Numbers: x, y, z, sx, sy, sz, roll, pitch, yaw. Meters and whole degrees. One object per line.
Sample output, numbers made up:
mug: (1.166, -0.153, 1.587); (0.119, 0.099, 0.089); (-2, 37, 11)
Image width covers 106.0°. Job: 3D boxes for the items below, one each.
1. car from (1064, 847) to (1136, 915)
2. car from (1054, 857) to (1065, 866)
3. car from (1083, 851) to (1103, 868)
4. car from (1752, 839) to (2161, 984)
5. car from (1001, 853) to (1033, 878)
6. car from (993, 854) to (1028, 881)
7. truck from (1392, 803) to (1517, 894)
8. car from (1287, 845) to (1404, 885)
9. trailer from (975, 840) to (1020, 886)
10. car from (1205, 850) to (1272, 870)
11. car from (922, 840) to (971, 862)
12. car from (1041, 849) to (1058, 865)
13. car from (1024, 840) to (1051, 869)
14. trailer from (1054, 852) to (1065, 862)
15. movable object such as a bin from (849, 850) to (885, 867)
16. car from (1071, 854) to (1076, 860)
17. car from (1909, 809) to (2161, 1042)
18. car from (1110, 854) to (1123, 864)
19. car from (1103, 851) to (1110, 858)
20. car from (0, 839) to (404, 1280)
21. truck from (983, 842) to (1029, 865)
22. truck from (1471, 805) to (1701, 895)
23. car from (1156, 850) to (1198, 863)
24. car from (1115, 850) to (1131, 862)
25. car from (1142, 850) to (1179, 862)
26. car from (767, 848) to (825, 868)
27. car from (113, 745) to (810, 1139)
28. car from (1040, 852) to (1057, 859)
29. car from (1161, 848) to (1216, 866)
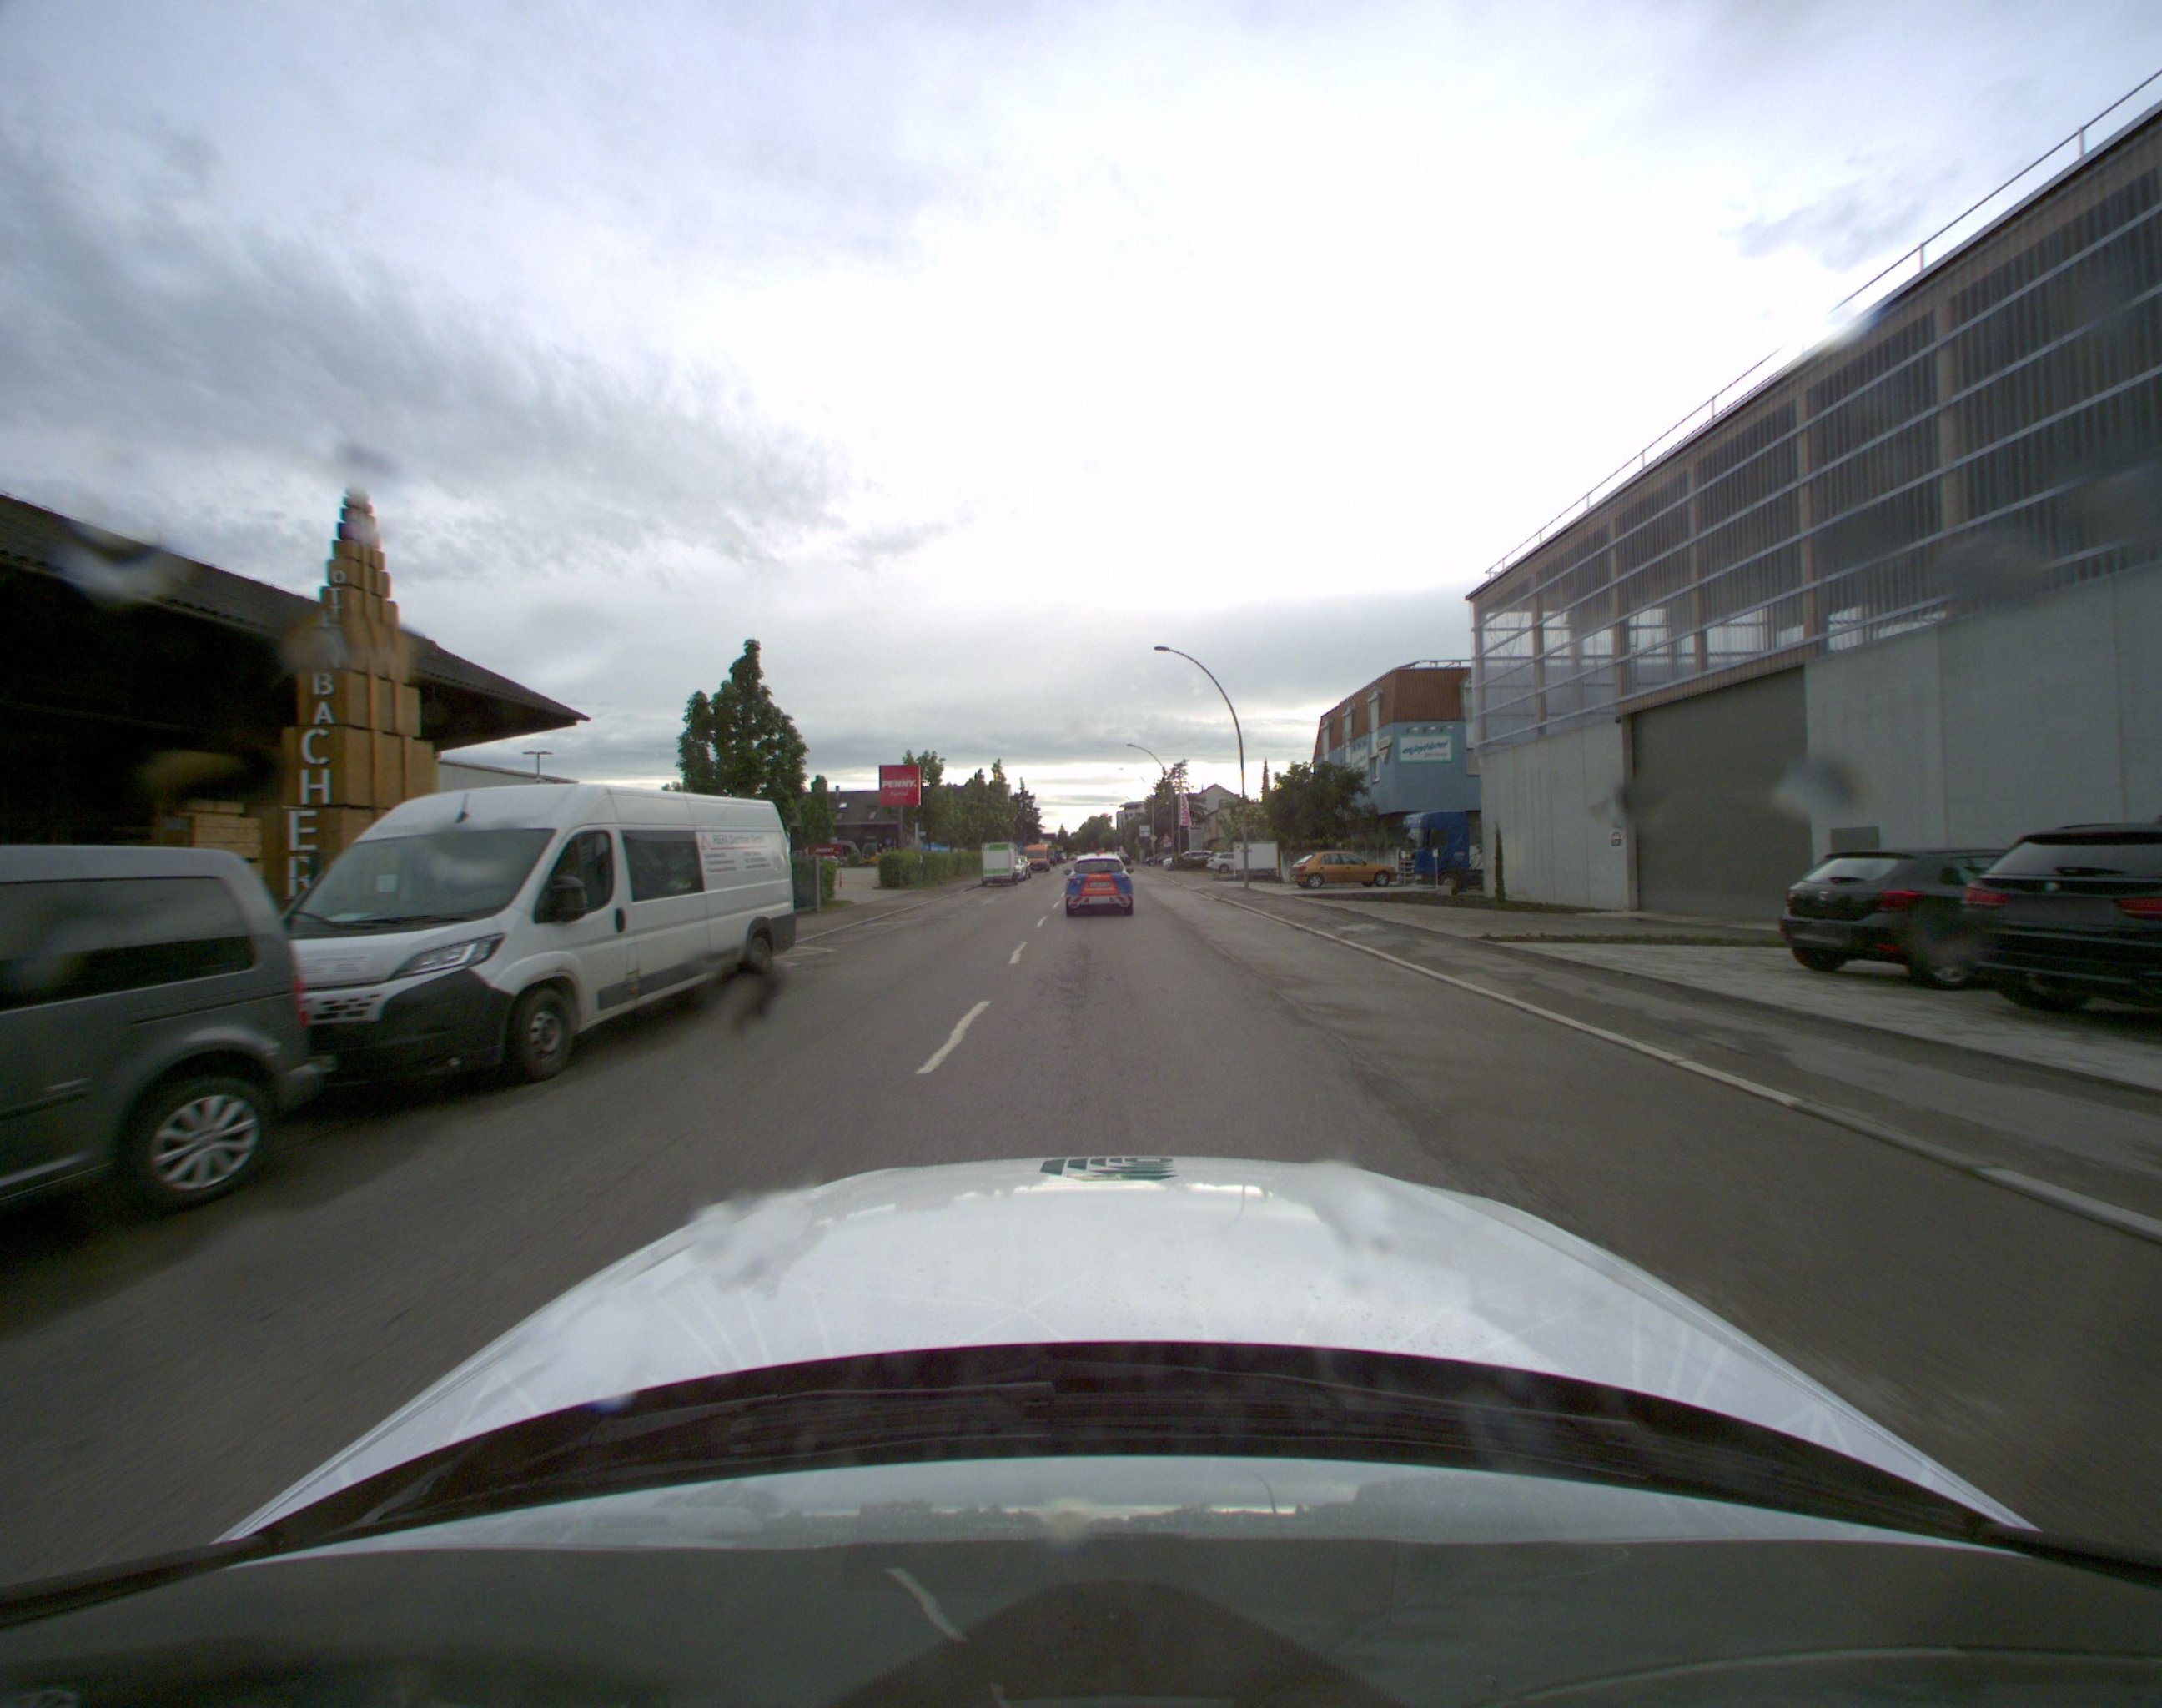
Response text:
car: (0.465, 0.672, 21.773); (1.726, 1.631, 3.494); (-1, 0, 0)
car: (-3.524, 1.258, 132.826); (1.552, 1.433, 4.000); (0, 0, 1)
car: (1.007, 0.500, 72.422); (1.645, 1.521, 3.998); (0, 0, -1)
car: (10.438, 0.596, 9.340); (3.951, 1.490, 1.834); (0, 0, 2)
car: (-4.401, 0.755, 56.408); (1.799, 1.573, 4.342); (-2, 0, 0)
car: (-4.326, 0.820, 50.811); (1.766, 1.498, 4.137); (-1, 1, 0)
truck: (16.146, -0.210, 35.415); (4.133, 3.673, 2.718); (2, -1, -2)
car: (10.196, 0.415, 31.549); (3.975, 1.430, 1.630); (-1, 0, -1)
trailer: (-4.533, 0.462, 44.771); (1.807, 2.314, 4.730); (-4, 0, 0)
car: (11.050, 0.398, 57.271); (4.401, 1.393, 1.879); (0, 0, -1)
car: (-12.712, -0.297, 77.202); (4.291, 2.014, 2.063); (0, -1, 0)
car: (-4.169, 0.396, 107.685); (1.987, 1.947, 5.365); (0, 0, 0)
car: (-3.974, 0.061, 75.976); (2.118, 2.537, 6.021); (-1, 0, 0)
trailer: (-3.256, 0.456, 125.232); (1.712, 1.260, 5.242); (0, 2, -1)
movable object such as a bin: (-22.701, 0.464, 86.369); (3.417, 1.759, 1.996); (0, 0, -6)
car: (-1.920, 0.667, 211.272); (1.382, 1.483, 3.782); (-1, 0, -1)
car: (9.931, 0.514, 6.688); (4.210, 1.675, 1.982); (0, 0, 2)
car: (5.641, 0.805, 130.161); (1.707, 1.438, 4.523); (0, 0, -2)
car: (6.285, 0.157, 200.507); (1.645, 1.671, 3.998); (0, 0, -1)
car: (-5.274, 0.892, 2.924); (1.763, 1.768, 4.447); (-5, 0, 1)
truck: (-10.180, -0.077, 110.578); (5.890, 3.073, 2.450); (0, -1, 1)
truck: (21.886, -0.144, 35.597); (8.511, 3.707, 2.721); (0, -1, -2)
car: (9.534, 0.245, 81.134); (3.971, 1.266, 1.952); (0, 0, 2)
car: (5.015, 0.233, 97.973); (1.585, 1.341, 4.091); (-1, 0, -1)
car: (9.046, 0.243, 92.813); (3.975, 1.266, 1.950); (0, 0, -1)
car: (-22.717, 0.298, 65.003); (4.046, 1.551, 1.883); (0, 0, -4)
car: (-5.143, 0.574, 8.574); (2.150, 2.427, 6.460); (-4, 0, 1)
car: (-7.489, 0.374, 185.980); (3.752, 1.576, 1.653); (0, 0, -4)
car: (8.937, 0.252, 67.944); (4.324, 1.475, 1.902); (-1, 0, -1)
